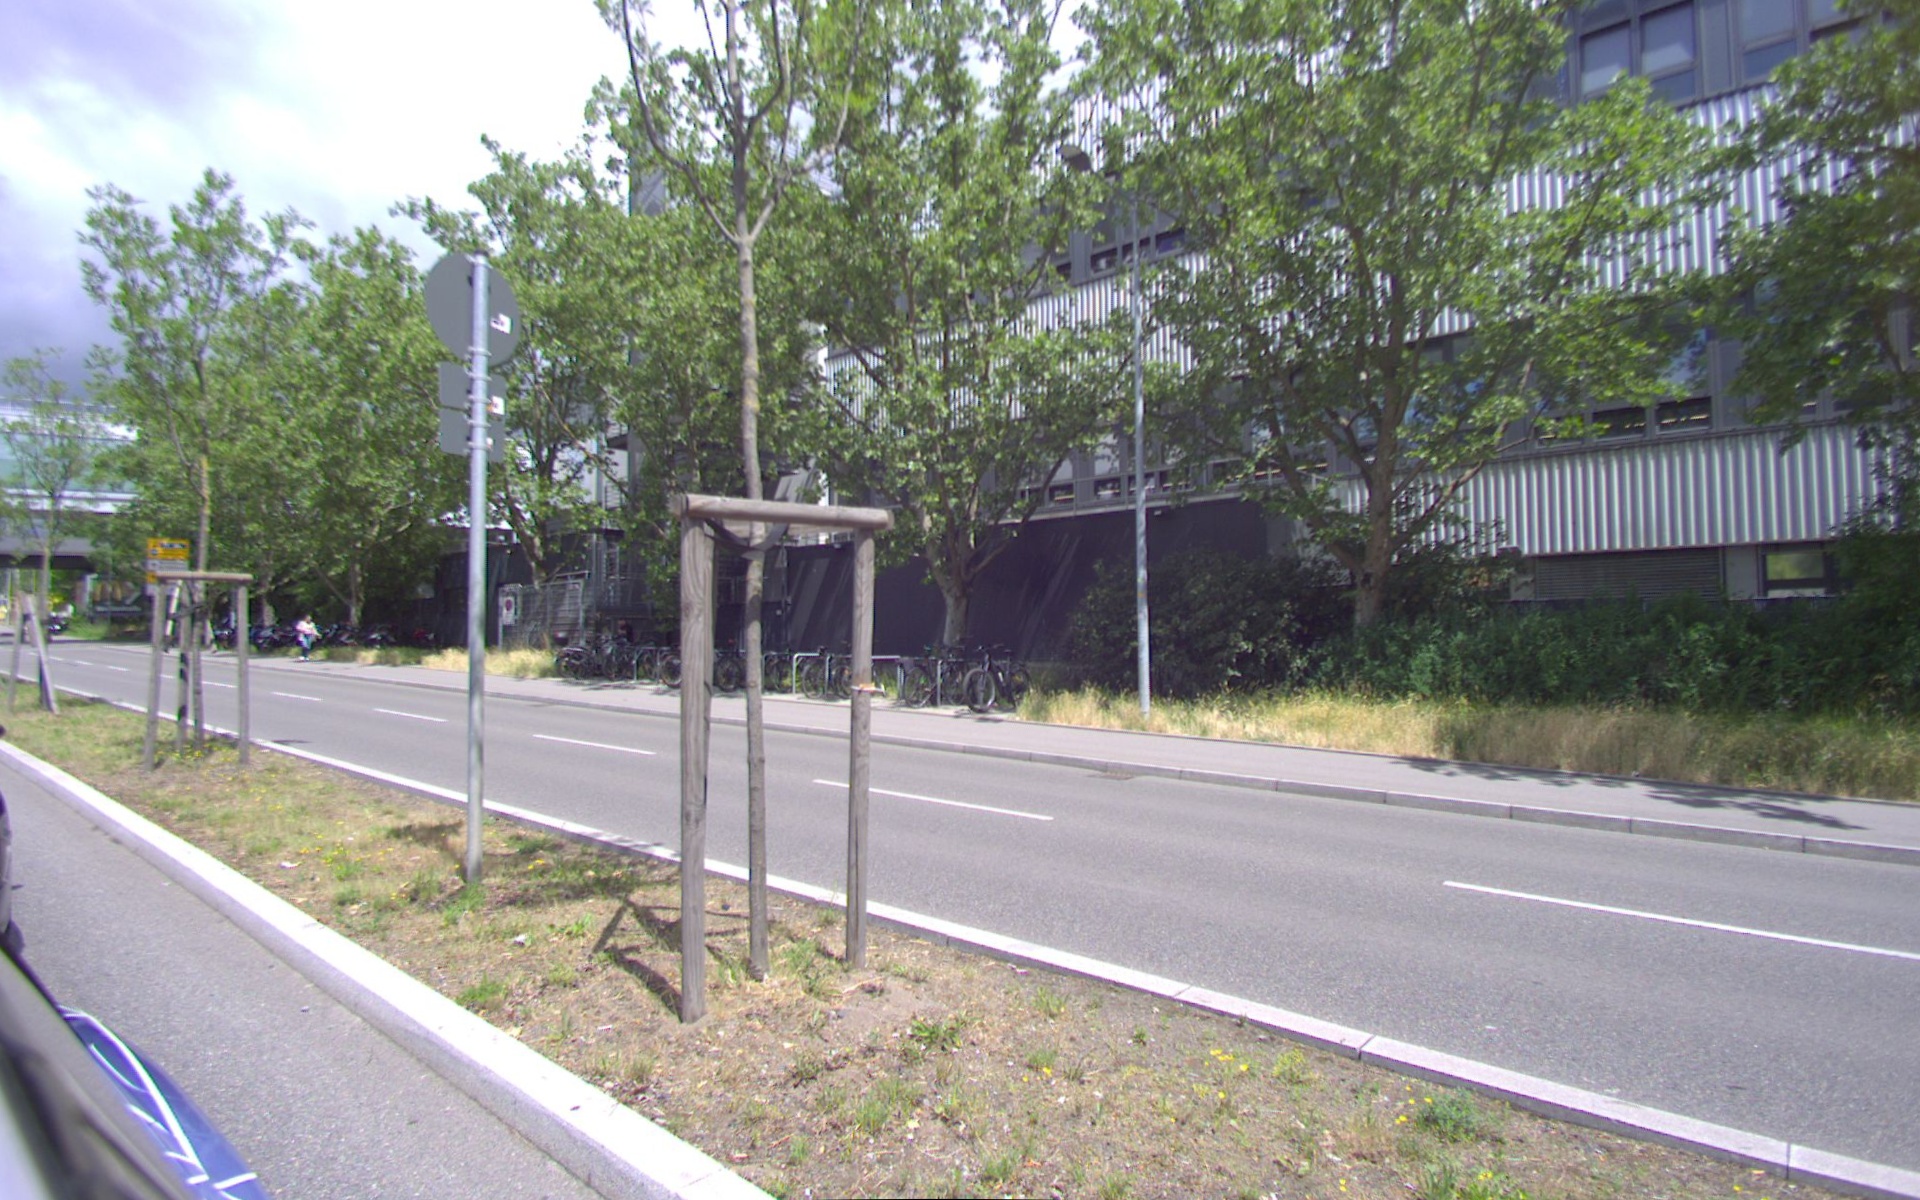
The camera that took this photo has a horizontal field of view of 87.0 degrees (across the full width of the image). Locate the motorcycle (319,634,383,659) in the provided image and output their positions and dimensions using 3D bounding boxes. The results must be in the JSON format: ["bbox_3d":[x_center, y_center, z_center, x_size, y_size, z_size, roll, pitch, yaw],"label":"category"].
[{"bbox_3d":[-23.911,1.831,39.789,0.534,0.905,2.105,-2,-1,41],"label":"motorcycle"}]

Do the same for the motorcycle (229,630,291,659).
[{"bbox_3d":[-29.750,1.884,43.055,0.534,1.146,2.105,-2,-1,41],"label":"motorcycle"}]

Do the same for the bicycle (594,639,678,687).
[{"bbox_3d":[-8.152,1.565,25.533,0.382,1.119,2.101,-2,-1,43],"label":"bicycle"}]

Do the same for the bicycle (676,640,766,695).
[{"bbox_3d":[-5.325,1.487,22.663,0.382,1.119,2.101,-2,-1,43],"label":"bicycle"}]

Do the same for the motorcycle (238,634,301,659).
[{"bbox_3d":[-28.749,1.927,42.166,0.534,0.976,2.105,-2,-1,41],"label":"motorcycle"}]

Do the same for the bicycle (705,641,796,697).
[{"bbox_3d":[-4.535,1.477,22.012,0.382,1.119,2.101,-2,-1,43],"label":"bicycle"}]

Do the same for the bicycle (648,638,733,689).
[{"bbox_3d":[-6.472,1.510,24.409,0.382,1.119,2.101,-2,-1,43],"label":"bicycle"}]

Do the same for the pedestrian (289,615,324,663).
[{"bbox_3d":[-23.929,1.424,37.063,0.672,1.734,0.888,-2,-2,41],"label":"pedestrian"}]

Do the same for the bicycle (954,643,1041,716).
[{"bbox_3d":[0.668,1.337,17.393,0.381,1.137,1.968,-2,-1,39],"label":"bicycle"}]

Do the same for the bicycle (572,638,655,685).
[{"bbox_3d":[-8.897,1.569,26.081,0.382,1.119,2.101,-2,-1,43],"label":"bicycle"}]

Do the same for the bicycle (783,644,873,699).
[{"bbox_3d":[-2.735,1.477,21.132,0.382,1.038,2.101,-2,-1,43],"label":"bicycle"}]

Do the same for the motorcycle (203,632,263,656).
[{"bbox_3d":[-32.126,1.943,44.753,0.534,0.976,2.105,-2,-1,41],"label":"motorcycle"}]

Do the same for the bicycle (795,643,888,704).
[{"bbox_3d":[-2.332,1.433,20.224,0.382,1.104,2.101,-2,-1,43],"label":"bicycle"}]

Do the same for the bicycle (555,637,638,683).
[{"bbox_3d":[-9.538,1.550,26.627,0.382,1.119,2.101,-2,-1,43],"label":"bicycle"}]

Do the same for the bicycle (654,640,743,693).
[{"bbox_3d":[-5.982,1.498,23.259,0.382,1.119,2.101,-2,-1,43],"label":"bicycle"}]

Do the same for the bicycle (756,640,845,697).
[{"bbox_3d":[-3.404,1.454,21.746,0.382,1.119,2.101,-2,-1,43],"label":"bicycle"}]

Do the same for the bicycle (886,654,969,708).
[{"bbox_3d":[-0.589,1.519,19.216,0.381,0.897,1.968,-2,-1,39],"label":"bicycle"}]

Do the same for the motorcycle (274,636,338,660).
[{"bbox_3d":[-26.352,1.906,40.787,0.534,0.892,2.105,-2,-1,41],"label":"motorcycle"}]

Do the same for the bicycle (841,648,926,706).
[{"bbox_3d":[-1.461,1.475,19.702,0.381,1.005,1.968,-2,-1,39],"label":"bicycle"}]

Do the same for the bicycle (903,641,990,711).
[{"bbox_3d":[-0.211,1.333,18.115,0.381,1.137,1.968,-2,-1,39],"label":"bicycle"}]

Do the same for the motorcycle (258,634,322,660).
[{"bbox_3d":[-27.266,1.907,41.198,0.534,0.976,2.105,-2,-1,41],"label":"motorcycle"}]
